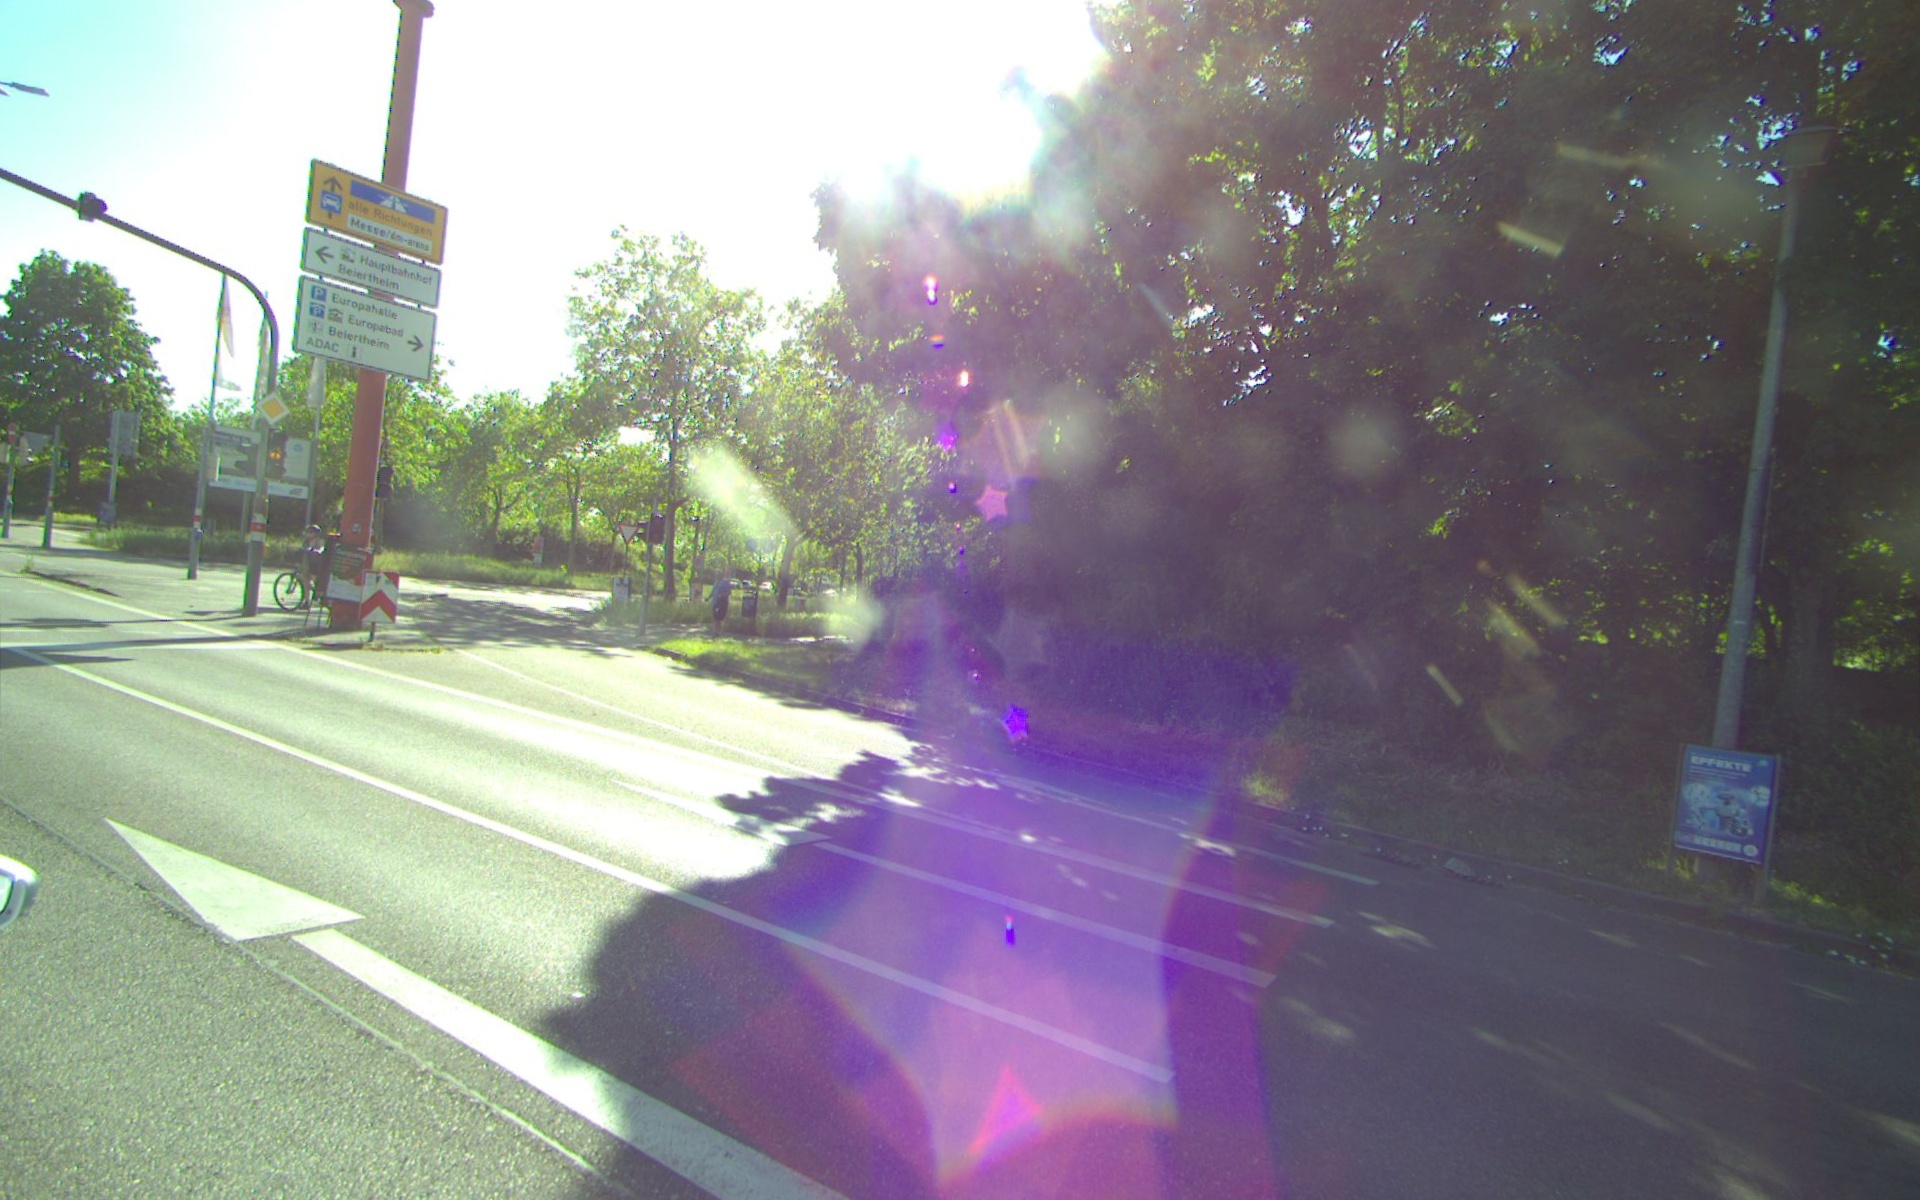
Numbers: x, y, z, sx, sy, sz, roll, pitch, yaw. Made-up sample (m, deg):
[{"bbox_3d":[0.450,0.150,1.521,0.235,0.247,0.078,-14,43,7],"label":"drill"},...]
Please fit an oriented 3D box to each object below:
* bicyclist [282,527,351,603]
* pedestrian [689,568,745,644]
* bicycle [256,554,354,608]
[{"bbox_3d":[-12.311,-0.654,19.268,0.695,1.358,0.742,7,0,-1],"label":"bicyclist"},{"bbox_3d":[-6.242,0.170,25.884,0.883,1.810,0.895,8,0,11],"label":"pedestrian"},{"bbox_3d":[-12.375,-0.344,19.095,0.550,0.889,2.166,7,0,-6],"label":"bicycle"}]
